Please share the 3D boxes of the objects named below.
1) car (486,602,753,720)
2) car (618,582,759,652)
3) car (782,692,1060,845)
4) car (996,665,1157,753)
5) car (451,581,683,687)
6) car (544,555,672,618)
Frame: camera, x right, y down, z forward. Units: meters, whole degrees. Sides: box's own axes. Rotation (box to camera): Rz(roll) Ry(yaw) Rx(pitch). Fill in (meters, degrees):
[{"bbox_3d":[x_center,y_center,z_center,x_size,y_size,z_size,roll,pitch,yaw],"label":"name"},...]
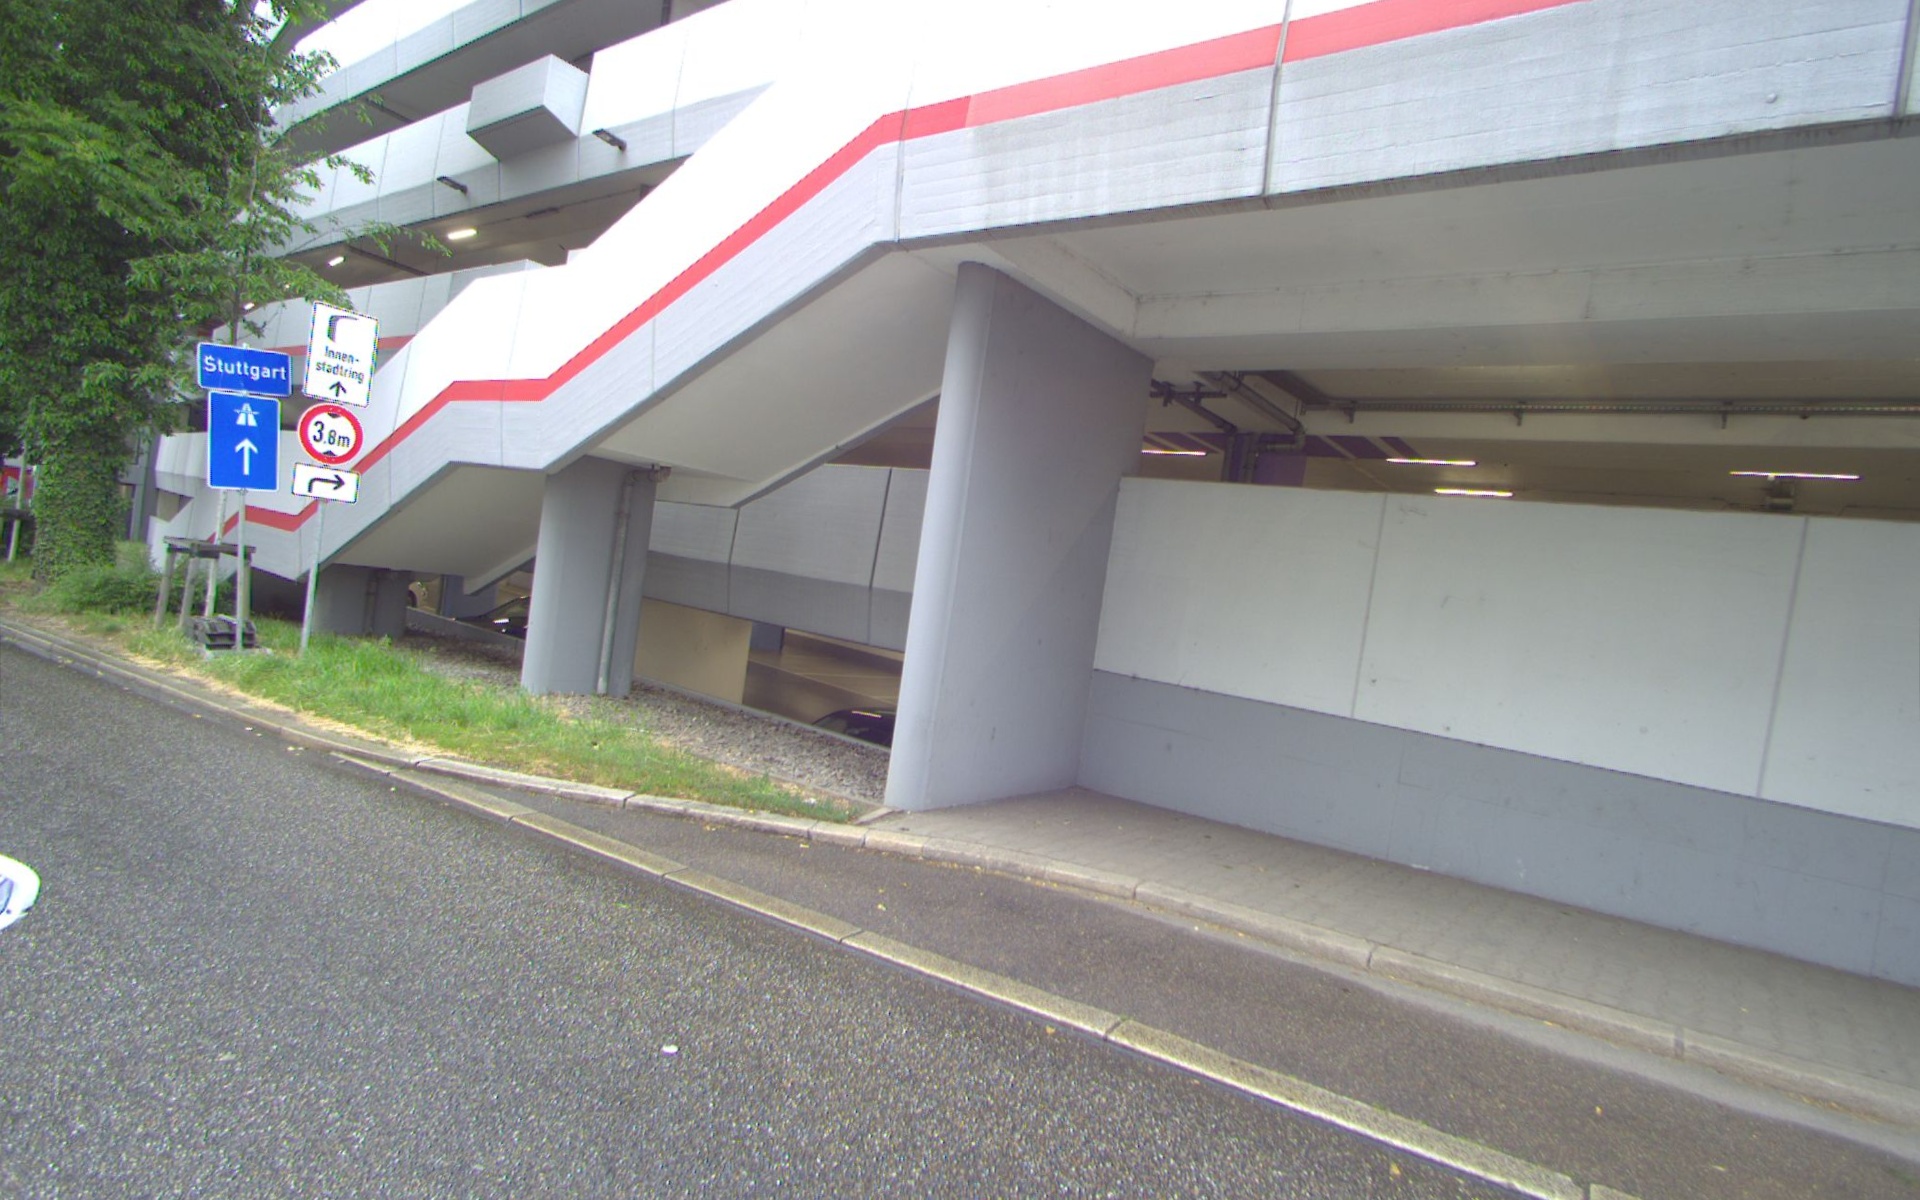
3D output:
[{"bbox_3d":[-5.819,1.125,17.616,1.810,1.643,3.988,7,-1,36],"label":"car"},{"bbox_3d":[-8.904,0.576,33.182,1.792,1.804,3.979,7,0,44],"label":"car"},{"bbox_3d":[-0.435,2.346,14.709,1.810,1.559,3.931,11,2,37],"label":"car"},{"bbox_3d":[2.828,2.554,23.690,1.810,1.559,3.988,11,2,37],"label":"car"},{"bbox_3d":[-7.623,0.717,19.798,1.782,1.559,3.734,11,2,37],"label":"car"},{"bbox_3d":[-12.982,-0.476,37.233,1.792,1.804,3.979,7,0,44],"label":"car"}]
